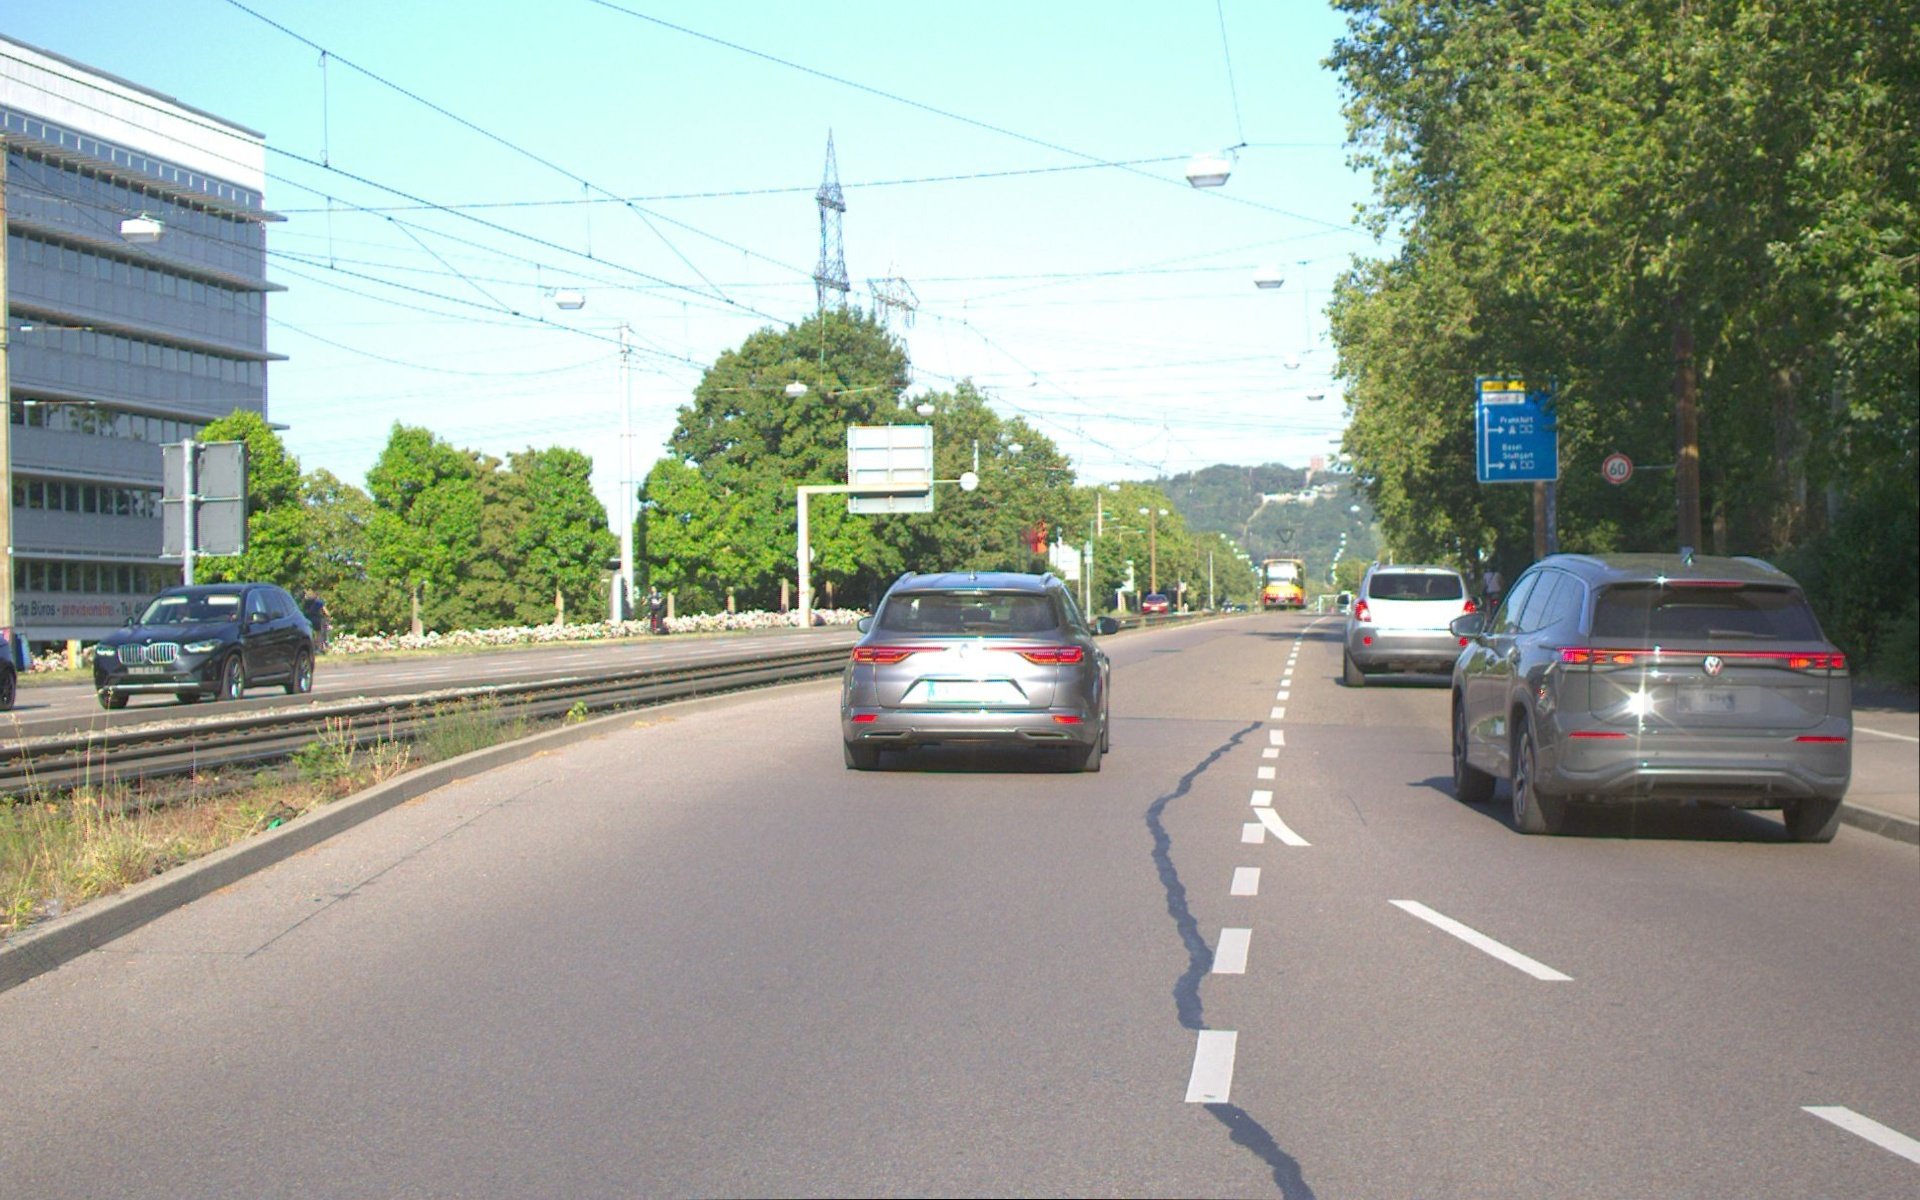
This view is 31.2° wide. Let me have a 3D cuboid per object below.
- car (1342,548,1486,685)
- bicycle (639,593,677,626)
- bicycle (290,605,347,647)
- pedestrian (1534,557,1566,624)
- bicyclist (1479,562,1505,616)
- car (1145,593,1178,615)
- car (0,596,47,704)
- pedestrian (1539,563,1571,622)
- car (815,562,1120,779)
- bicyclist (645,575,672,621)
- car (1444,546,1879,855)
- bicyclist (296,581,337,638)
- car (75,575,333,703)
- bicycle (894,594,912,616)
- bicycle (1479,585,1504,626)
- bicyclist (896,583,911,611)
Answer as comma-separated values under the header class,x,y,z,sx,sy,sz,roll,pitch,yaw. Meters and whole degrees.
class,x,y,z,sx,sy,sz,roll,pitch,yaw
car,6.335,0.195,48.293,1.884,1.789,3.999,2,1,6
bicycle,-10.839,0.329,123.460,0.661,1.147,2.020,2,1,17
bicycle,-17.206,0.682,92.199,0.705,1.069,2.026,2,1,14
pedestrian,15.101,-0.244,88.056,0.722,1.702,0.813,-1,0,7
bicyclist,14.890,-0.301,96.226,0.686,1.503,0.890,0,0,7
car,15.010,0.287,256.096,2.040,1.498,4.886,-1,1,8
car,-14.033,0.700,46.587,1.857,1.456,4.137,-1,0,6
pedestrian,14.983,-0.190,86.632,0.723,1.475,0.722,-1,0,7
car,0.156,0.467,26.085,1.866,1.462,4.665,1,1,5
bicyclist,-10.823,-0.081,123.471,0.661,1.618,0.800,2,1,17
car,4.121,0.520,20.898,1.844,1.655,4.439,1,1,2
bicyclist,-17.234,0.246,92.029,0.705,1.507,0.970,2,1,14
car,-10.488,0.501,48.052,1.994,1.650,4.657,-1,0,8
bicycle,-2.816,0.224,170.933,0.625,1.055,1.703,2,1,7
bicycle,14.877,0.150,96.252,0.622,1.116,1.812,-1,0,7
bicyclist,-2.810,-0.150,170.934,0.625,1.369,0.880,2,1,7
